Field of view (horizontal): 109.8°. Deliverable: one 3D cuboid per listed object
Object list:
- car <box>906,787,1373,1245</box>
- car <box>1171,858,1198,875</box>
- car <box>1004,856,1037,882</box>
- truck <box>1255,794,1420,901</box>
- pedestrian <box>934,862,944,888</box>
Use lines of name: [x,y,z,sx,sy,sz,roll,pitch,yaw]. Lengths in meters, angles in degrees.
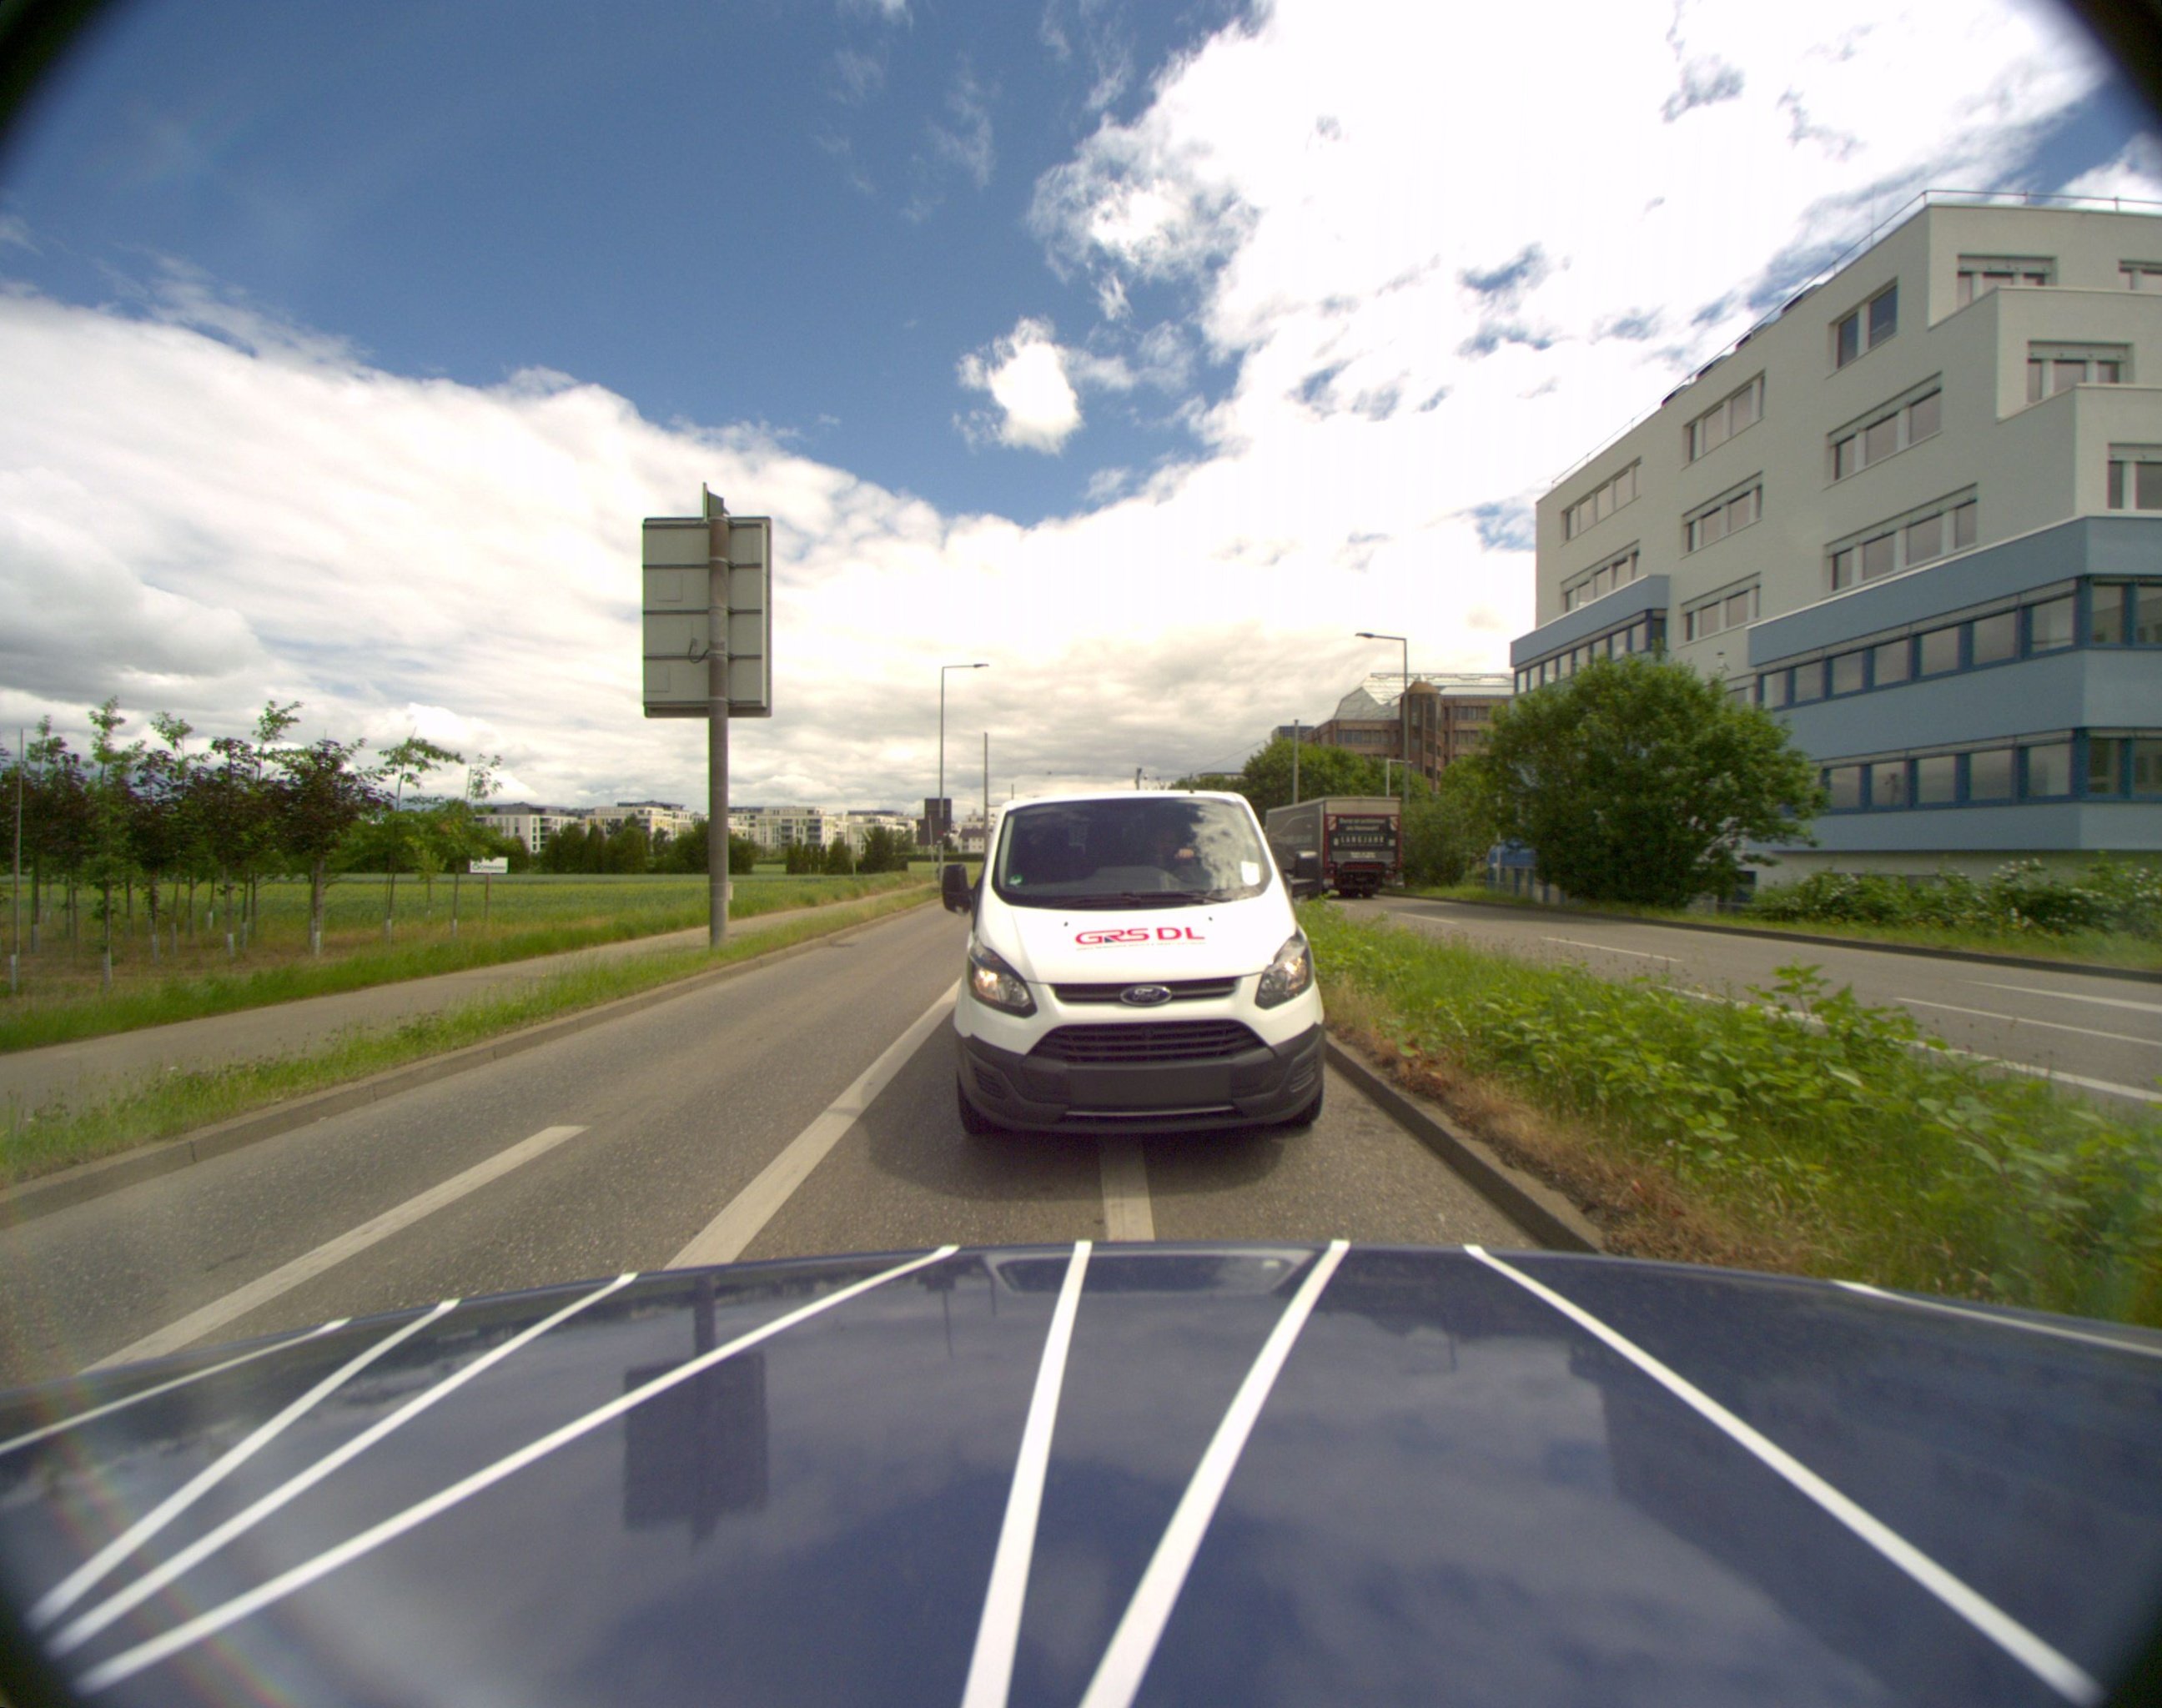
car: [0.289,0.702,5.812,1.968,1.938,5.055,-2,0,1]
car: [8.464,1.007,62.400,1.558,1.375,3.779,-1,0,-1]
car: [-3.546,0.840,44.959,1.683,1.410,3.739,-1,1,-1]
truck: [9.483,-0.259,29.674,3.176,3.497,9.525,0,1,0]
pedestrian: [-9.316,1.382,49.989,0.492,1.693,0.626,-2,1,-1]
